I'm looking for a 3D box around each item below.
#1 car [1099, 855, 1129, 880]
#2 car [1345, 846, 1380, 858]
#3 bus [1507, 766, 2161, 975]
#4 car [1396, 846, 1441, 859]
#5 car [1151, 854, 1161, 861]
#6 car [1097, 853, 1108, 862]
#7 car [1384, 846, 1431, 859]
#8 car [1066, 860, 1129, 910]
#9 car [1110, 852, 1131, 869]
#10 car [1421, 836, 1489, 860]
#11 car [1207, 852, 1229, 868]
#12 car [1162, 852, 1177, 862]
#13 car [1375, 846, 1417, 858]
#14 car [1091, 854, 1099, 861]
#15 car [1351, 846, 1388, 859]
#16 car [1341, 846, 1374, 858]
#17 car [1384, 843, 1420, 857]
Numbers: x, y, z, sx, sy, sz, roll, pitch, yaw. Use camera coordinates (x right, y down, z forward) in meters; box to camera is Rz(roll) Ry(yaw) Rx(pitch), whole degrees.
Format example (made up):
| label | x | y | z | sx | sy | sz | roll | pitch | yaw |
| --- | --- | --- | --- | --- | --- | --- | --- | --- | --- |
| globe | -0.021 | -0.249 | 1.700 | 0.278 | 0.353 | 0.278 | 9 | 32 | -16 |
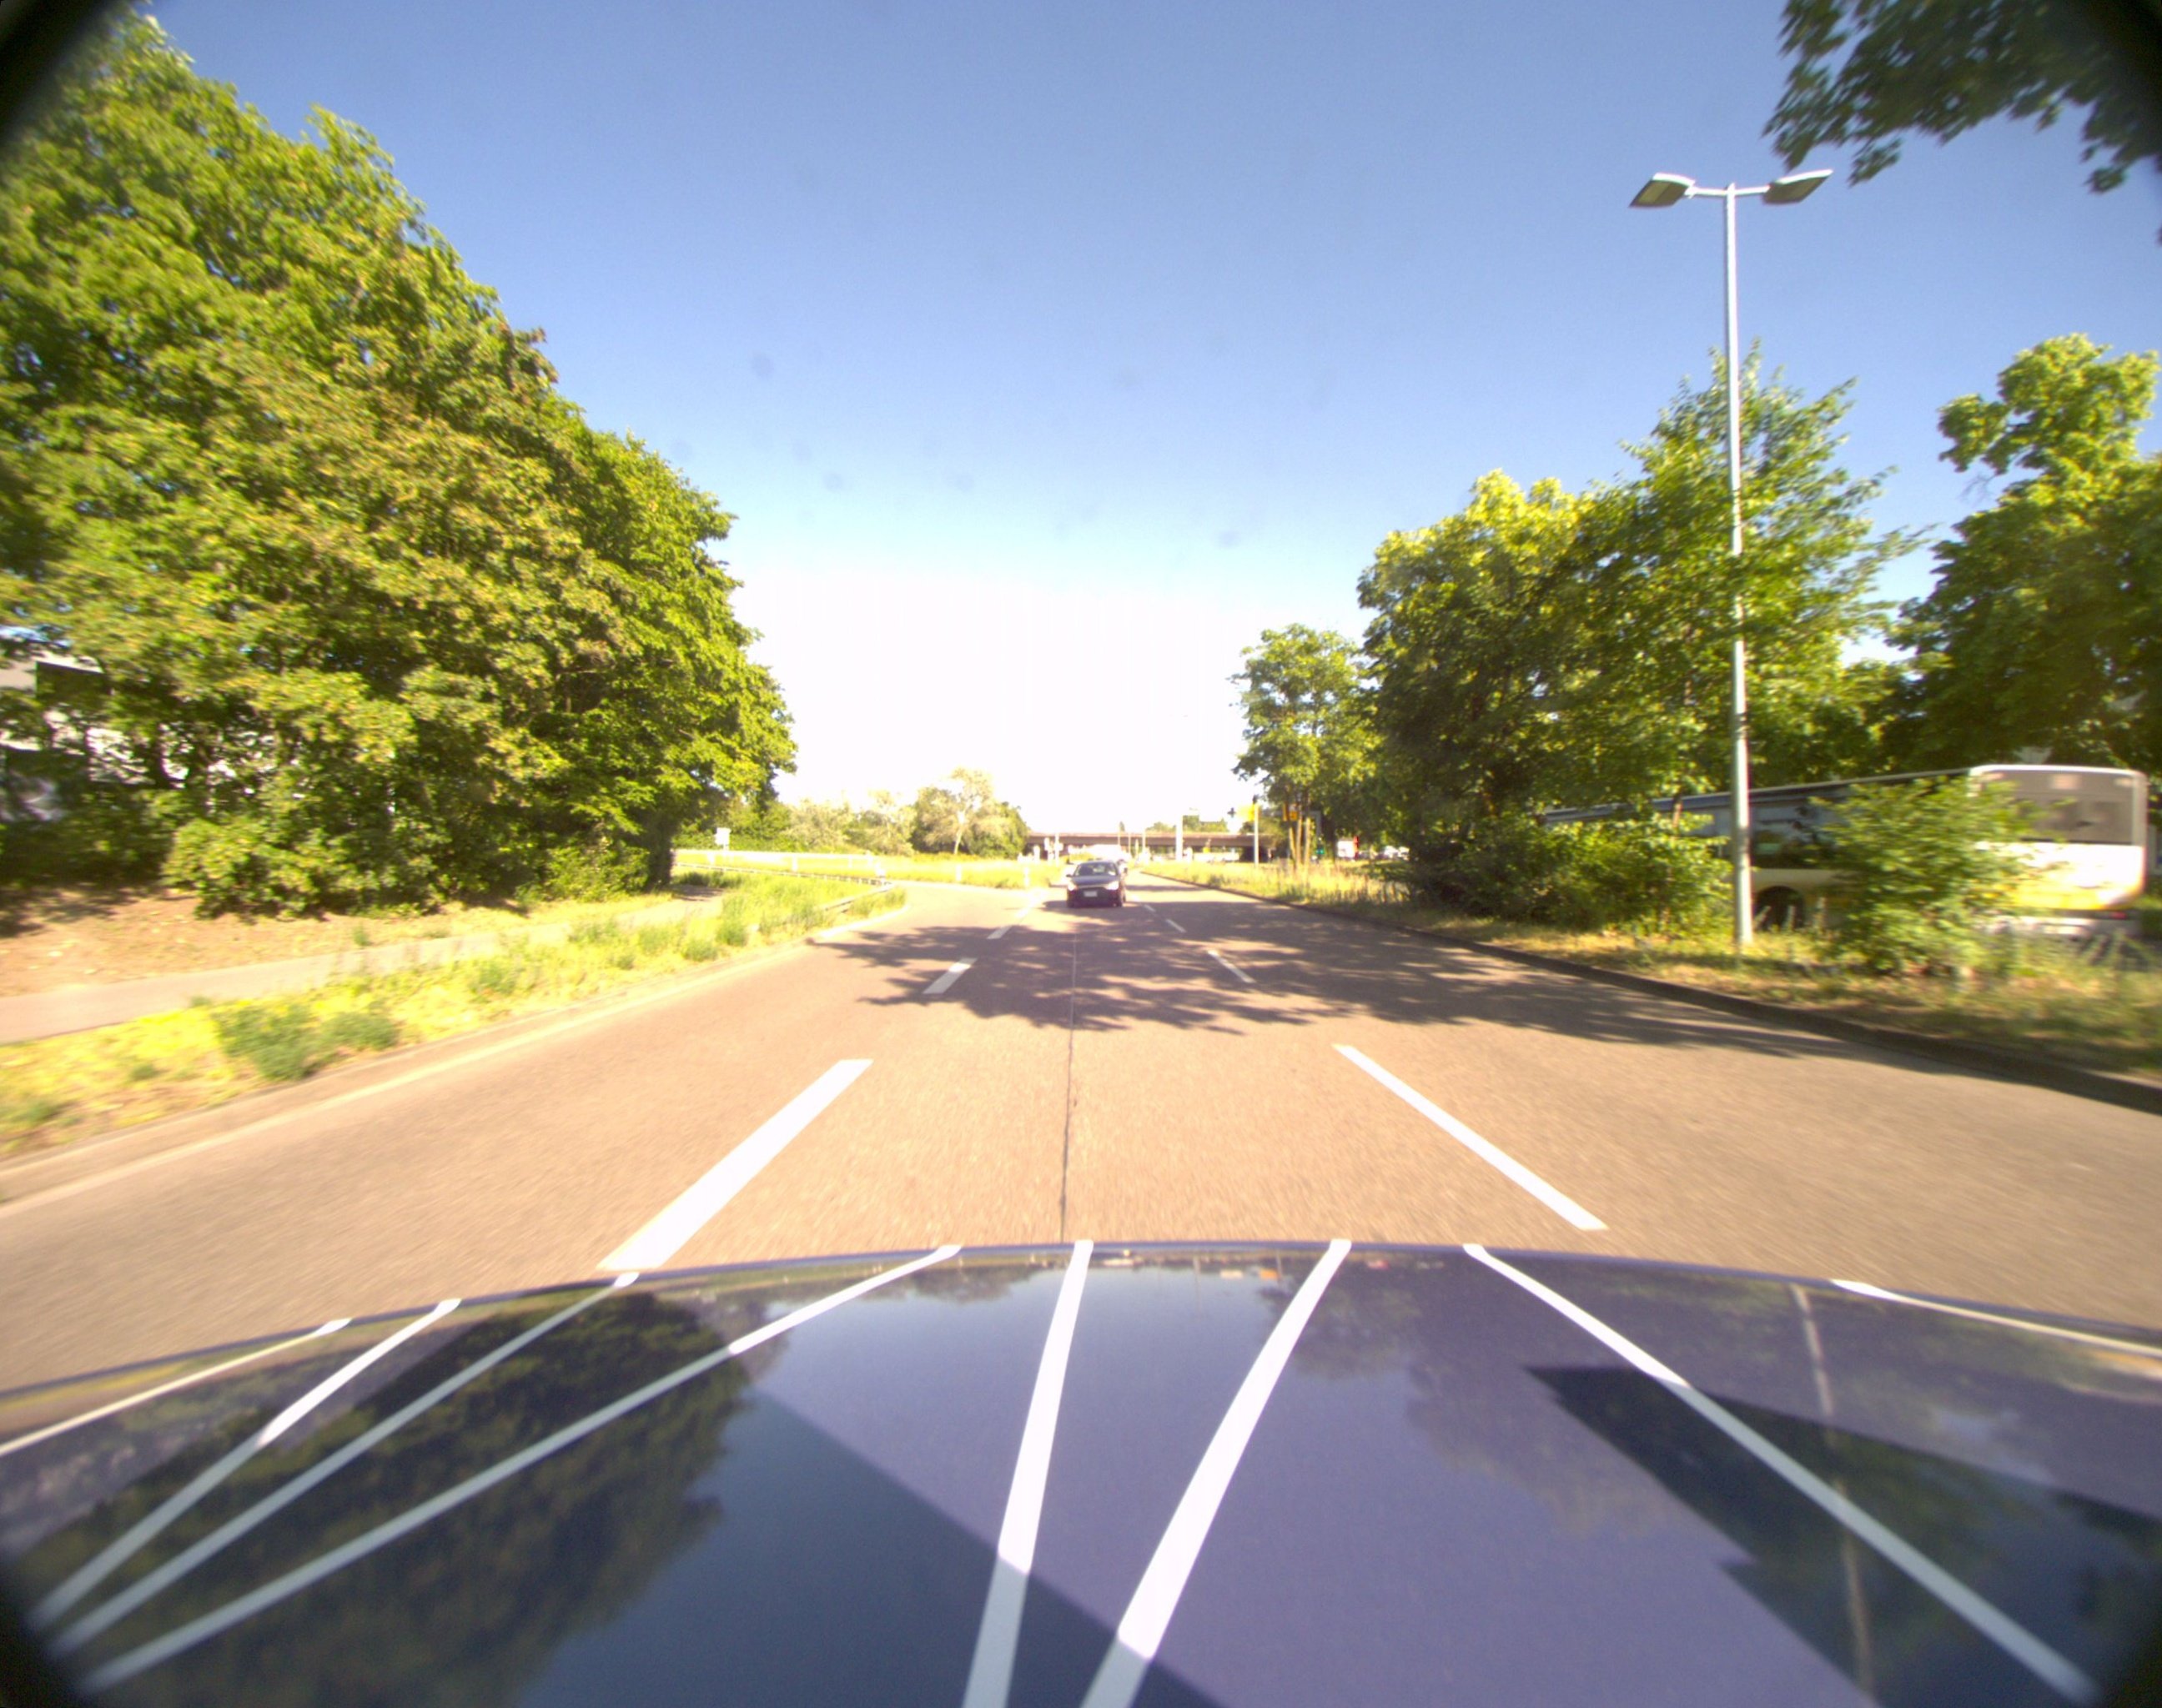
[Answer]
| label | x | y | z | sx | sy | sz | roll | pitch | yaw |
| --- | --- | --- | --- | --- | --- | --- | --- | --- | --- |
| car | 2.154 | 0.841 | 50.256 | 1.827 | 1.528 | 4.042 | 0 | 0 | 0 |
| car | 38.138 | -0.274 | 103.052 | 4.127 | 1.542 | 1.819 | 0 | 0 | 5 |
| bus | 13.369 | 0.237 | 15.734 | 2.728 | 2.705 | 11.087 | 2 | 0 | 0 |
| car | 37.706 | -0.134 | 84.988 | 4.130 | 1.380 | 1.946 | 0 | 0 | -3 |
| car | 16.528 | 0.719 | 167.816 | 1.881 | 1.534 | 4.572 | 2 | 0 | 0 |
| car | 3.770 | 0.569 | 134.635 | 1.827 | 1.528 | 4.042 | -1 | 0 | 0 |
| car | 37.722 | -0.179 | 87.772 | 4.631 | 1.380 | 1.946 | 0 | 0 | 0 |
| car | 0.623 | 0.951 | 24.836 | 1.706 | 1.447 | 3.961 | -1 | 0 | 6 |
| car | 3.805 | 0.630 | 73.946 | 1.827 | 1.528 | 4.042 | 0 | 0 | 0 |
| car | 38.007 | -0.590 | 77.222 | 5.894 | 2.419 | 2.206 | 0 | 0 | -3 |
| car | 16.206 | 0.697 | 90.037 | 1.711 | 1.736 | 4.165 | -1 | 0 | -1 |
| car | 15.544 | 0.598 | 133.425 | 1.947 | 1.687 | 4.629 | 1 | 0 | 0 |
| car | 37.278 | -0.190 | 90.061 | 4.130 | 1.380 | 1.946 | 0 | 0 | -3 |
| car | 3.035 | 0.778 | 164.474 | 1.627 | 1.428 | 3.279 | -1 | 0 | 3 |
| car | 37.109 | -0.193 | 97.756 | 4.127 | 1.542 | 1.947 | 0 | 0 | 3 |
| car | 38.330 | -0.277 | 105.428 | 4.125 | 1.542 | 1.897 | 0 | 0 | 11 |
| car | 50.418 | -0.674 | 119.489 | 1.899 | 2.139 | 5.034 | 0 | 0 | -32 |
